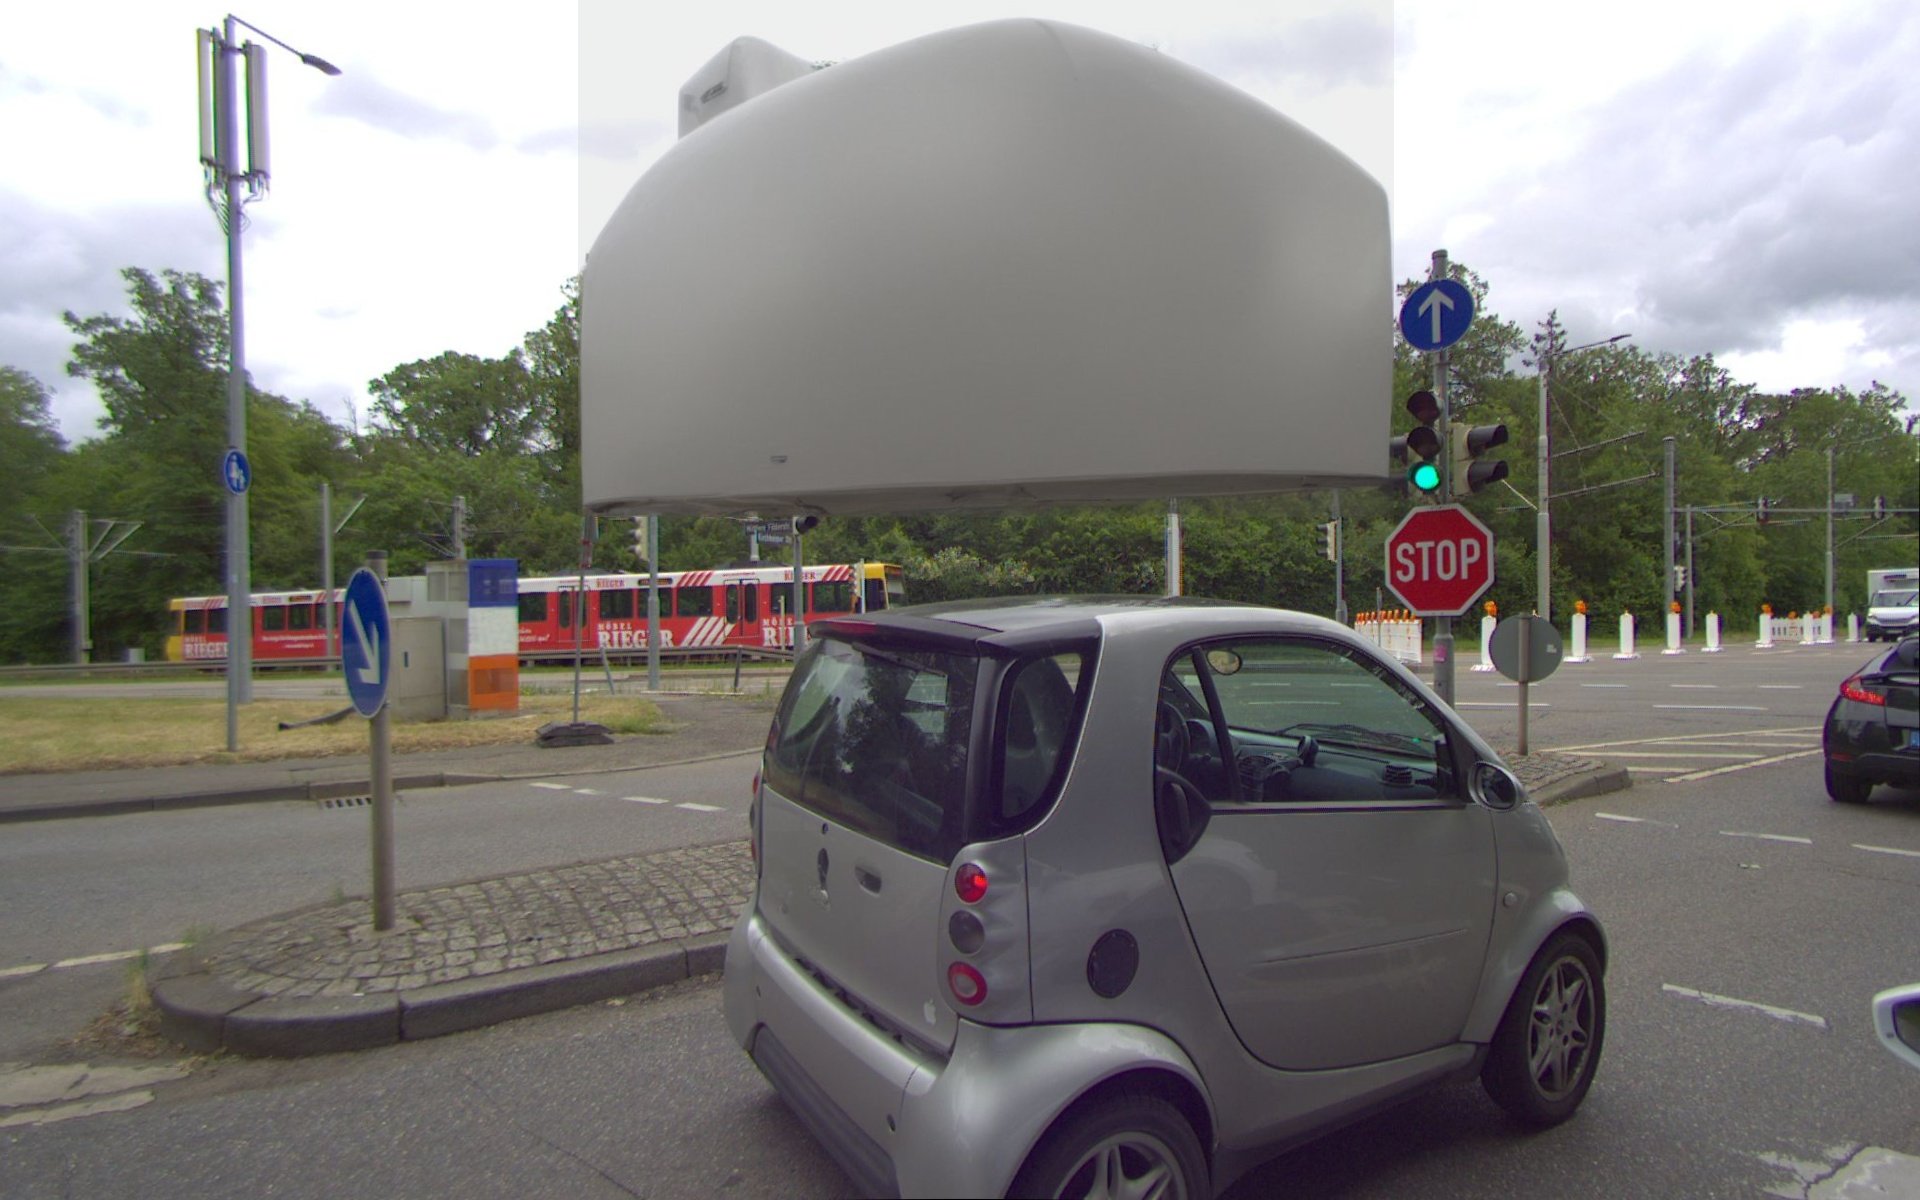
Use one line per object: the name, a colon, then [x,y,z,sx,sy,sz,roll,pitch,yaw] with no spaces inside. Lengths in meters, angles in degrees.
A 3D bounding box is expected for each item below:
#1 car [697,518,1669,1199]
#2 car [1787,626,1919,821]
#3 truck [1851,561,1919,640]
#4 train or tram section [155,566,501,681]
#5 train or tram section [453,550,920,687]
car: [0.730,0.695,3.105,2.697,1.607,1.450,1,-2,-32]
car: [8.310,0.899,8.031,3.442,1.379,1.762,1,-2,-35]
truck: [41.872,0.117,44.598,7.098,3.266,2.428,1,-2,-41]
train or tram section: [-28.206,0.888,44.212,18.370,4.476,2.964,1,-1,24]
train or tram section: [-10.685,0.574,38.448,18.171,4.712,2.958,1,-1,15]
